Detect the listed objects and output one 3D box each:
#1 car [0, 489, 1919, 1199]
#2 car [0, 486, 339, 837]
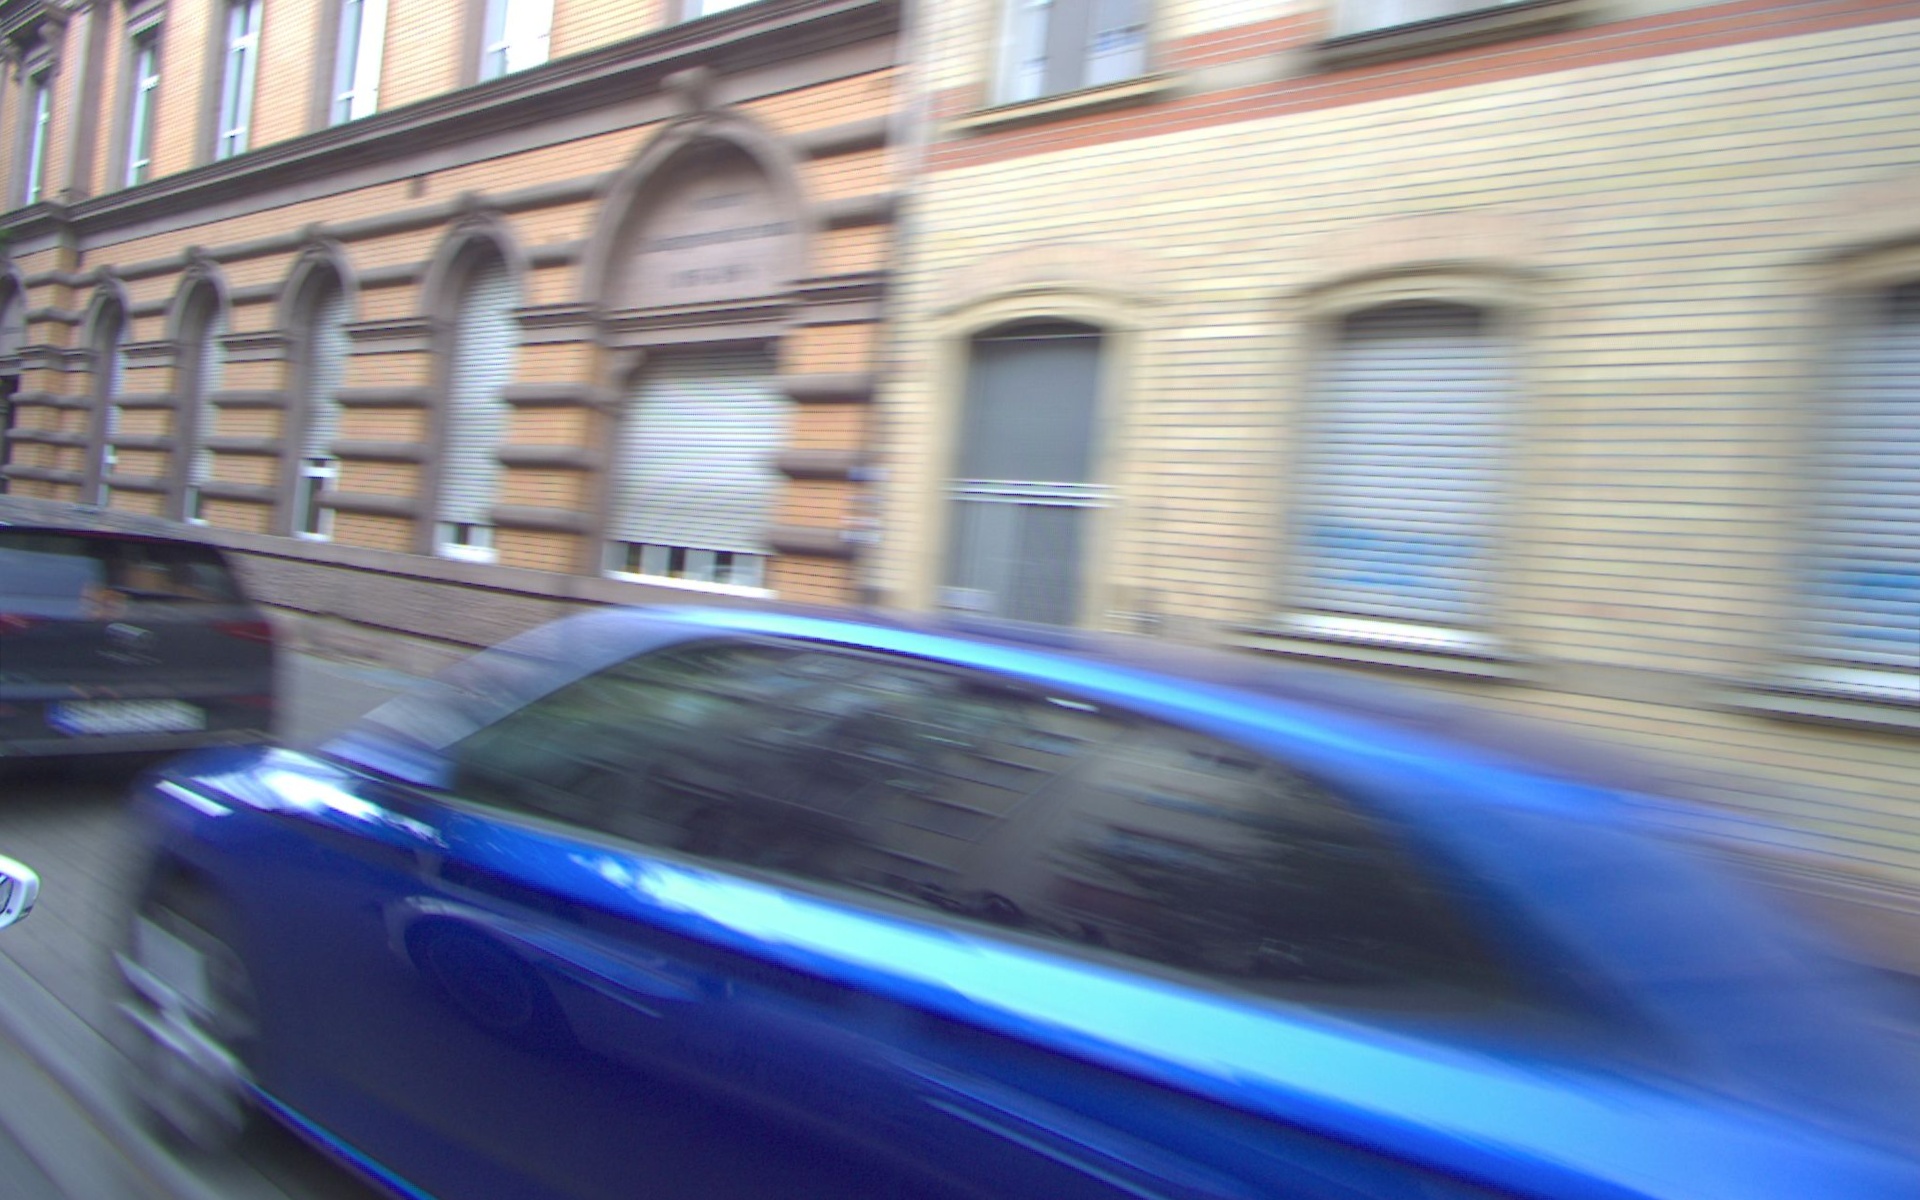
[{"bbox_3d":[-0.446,0.697,2.447,4.173,1.484,1.630,7,0,30],"label":"car"},{"bbox_3d":[-5.597,0.105,5.731,4.122,1.495,1.714,7,-1,31],"label":"car"}]
